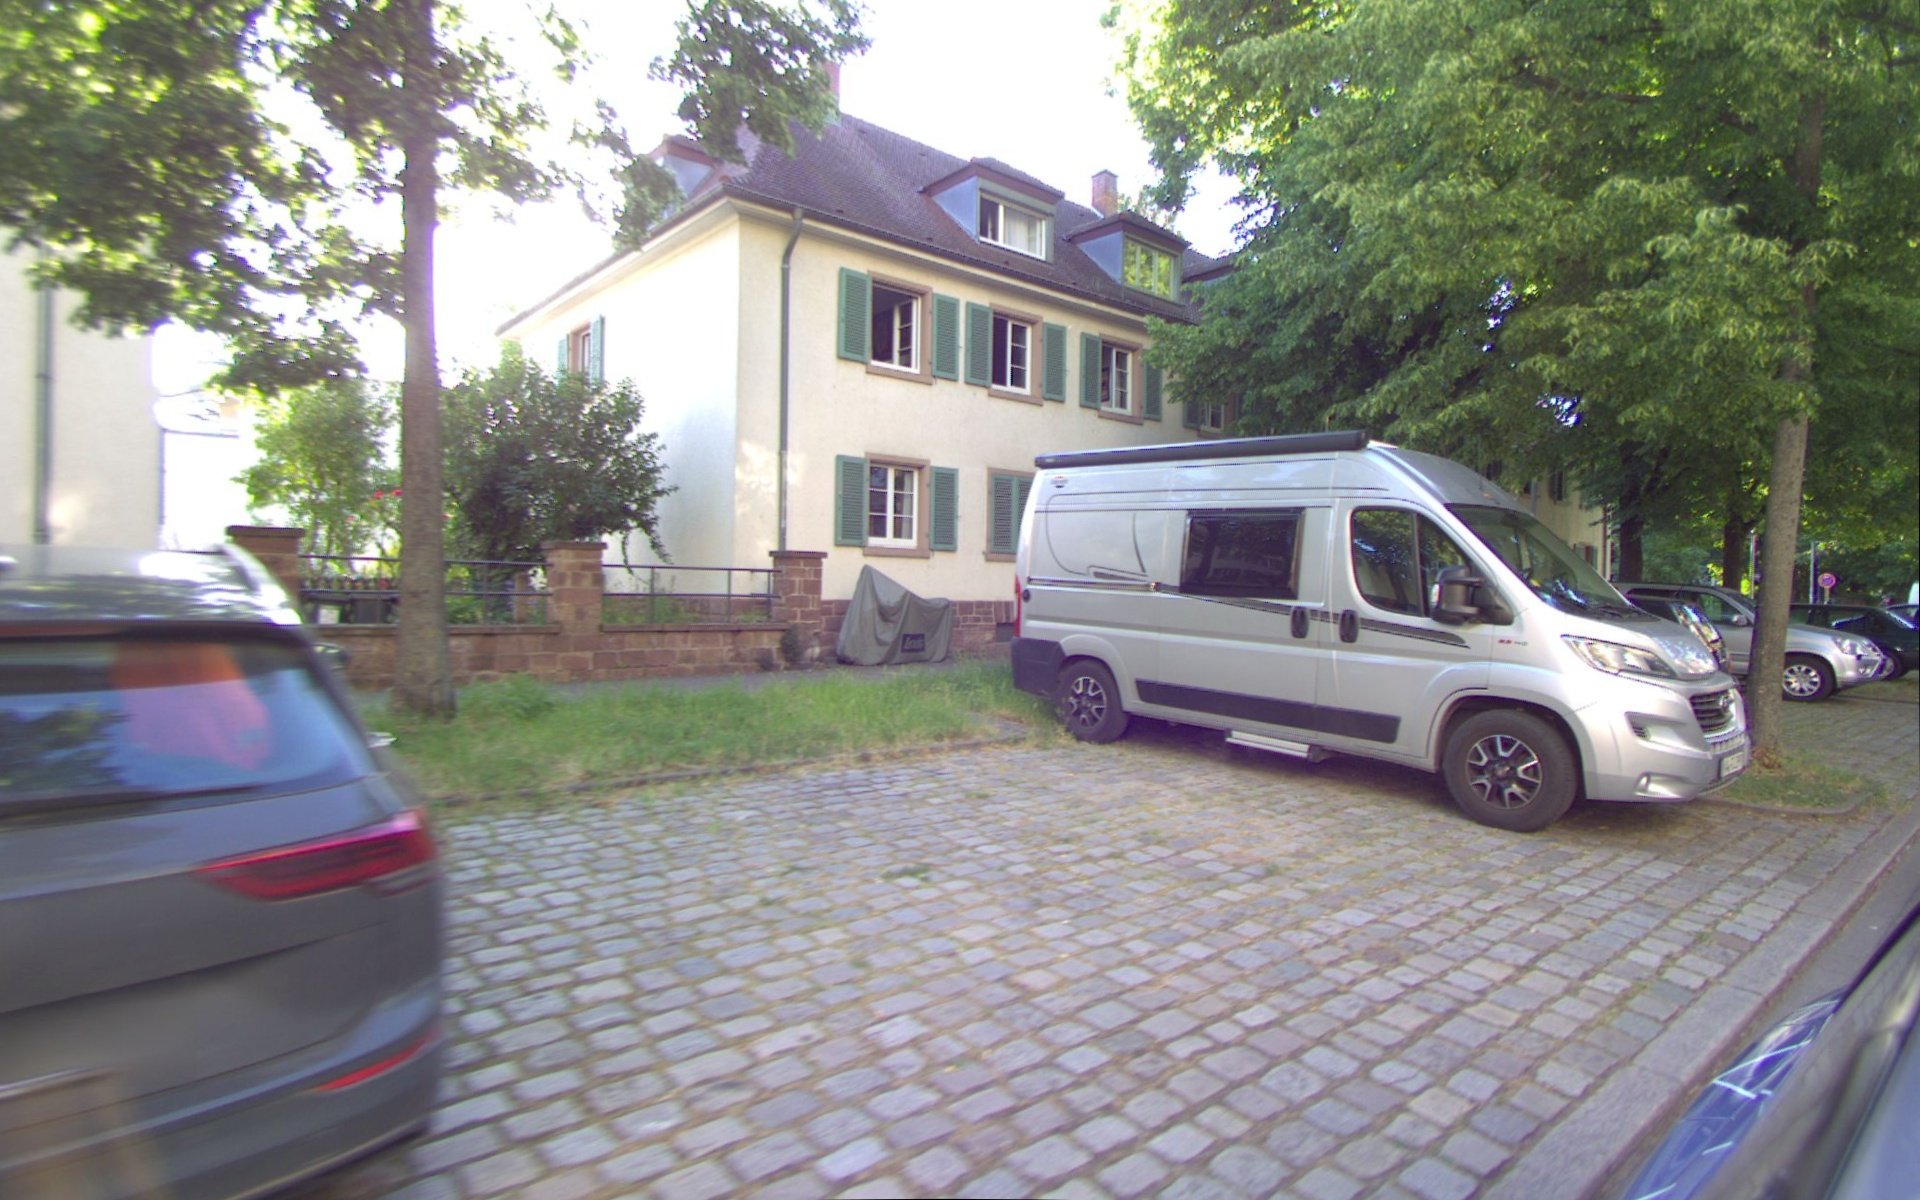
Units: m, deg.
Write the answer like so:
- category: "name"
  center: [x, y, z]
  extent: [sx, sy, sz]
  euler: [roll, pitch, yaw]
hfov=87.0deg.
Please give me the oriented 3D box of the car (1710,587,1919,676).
- category: "car"
  center: [17.766, 0.584, 20.388]
  extent: [1.528, 1.571, 3.996]
  euler: [1, 2, -40]

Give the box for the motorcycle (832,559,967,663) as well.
- category: "motorcycle"
  center: [-0.856, 0.144, 14.779]
  extent: [1.981, 1.424, 0.660]
  euler: [-1, 0, -41]

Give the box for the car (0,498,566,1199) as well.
- category: "car"
  center: [-2.880, 0.430, 3.067]
  extent: [1.795, 1.453, 4.488]
  euler: [0, 4, -40]

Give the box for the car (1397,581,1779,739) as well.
- category: "car"
  center: [6.910, 0.540, 11.340]
  extent: [1.792, 1.481, 3.259]
  euler: [0, 1, -40]

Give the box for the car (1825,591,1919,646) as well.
- category: "car"
  center: [28.861, 0.578, 30.575]
  extent: [1.546, 1.531, 3.991]
  euler: [0, 2, -43]

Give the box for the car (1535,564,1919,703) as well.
- category: "car"
  center: [12.047, 0.395, 16.118]
  extent: [1.966, 1.737, 4.603]
  euler: [0, 3, -42]

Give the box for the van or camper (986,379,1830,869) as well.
- category: "van or camper"
  center: [2.949, -0.084, 8.121]
  extent: [2.124, 2.546, 5.734]
  euler: [0, 4, -40]

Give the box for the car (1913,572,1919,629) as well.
- category: "car"
  center: [48.114, 0.121, 46.939]
  extent: [2.096, 2.695, 5.448]
  euler: [1, 2, -39]
